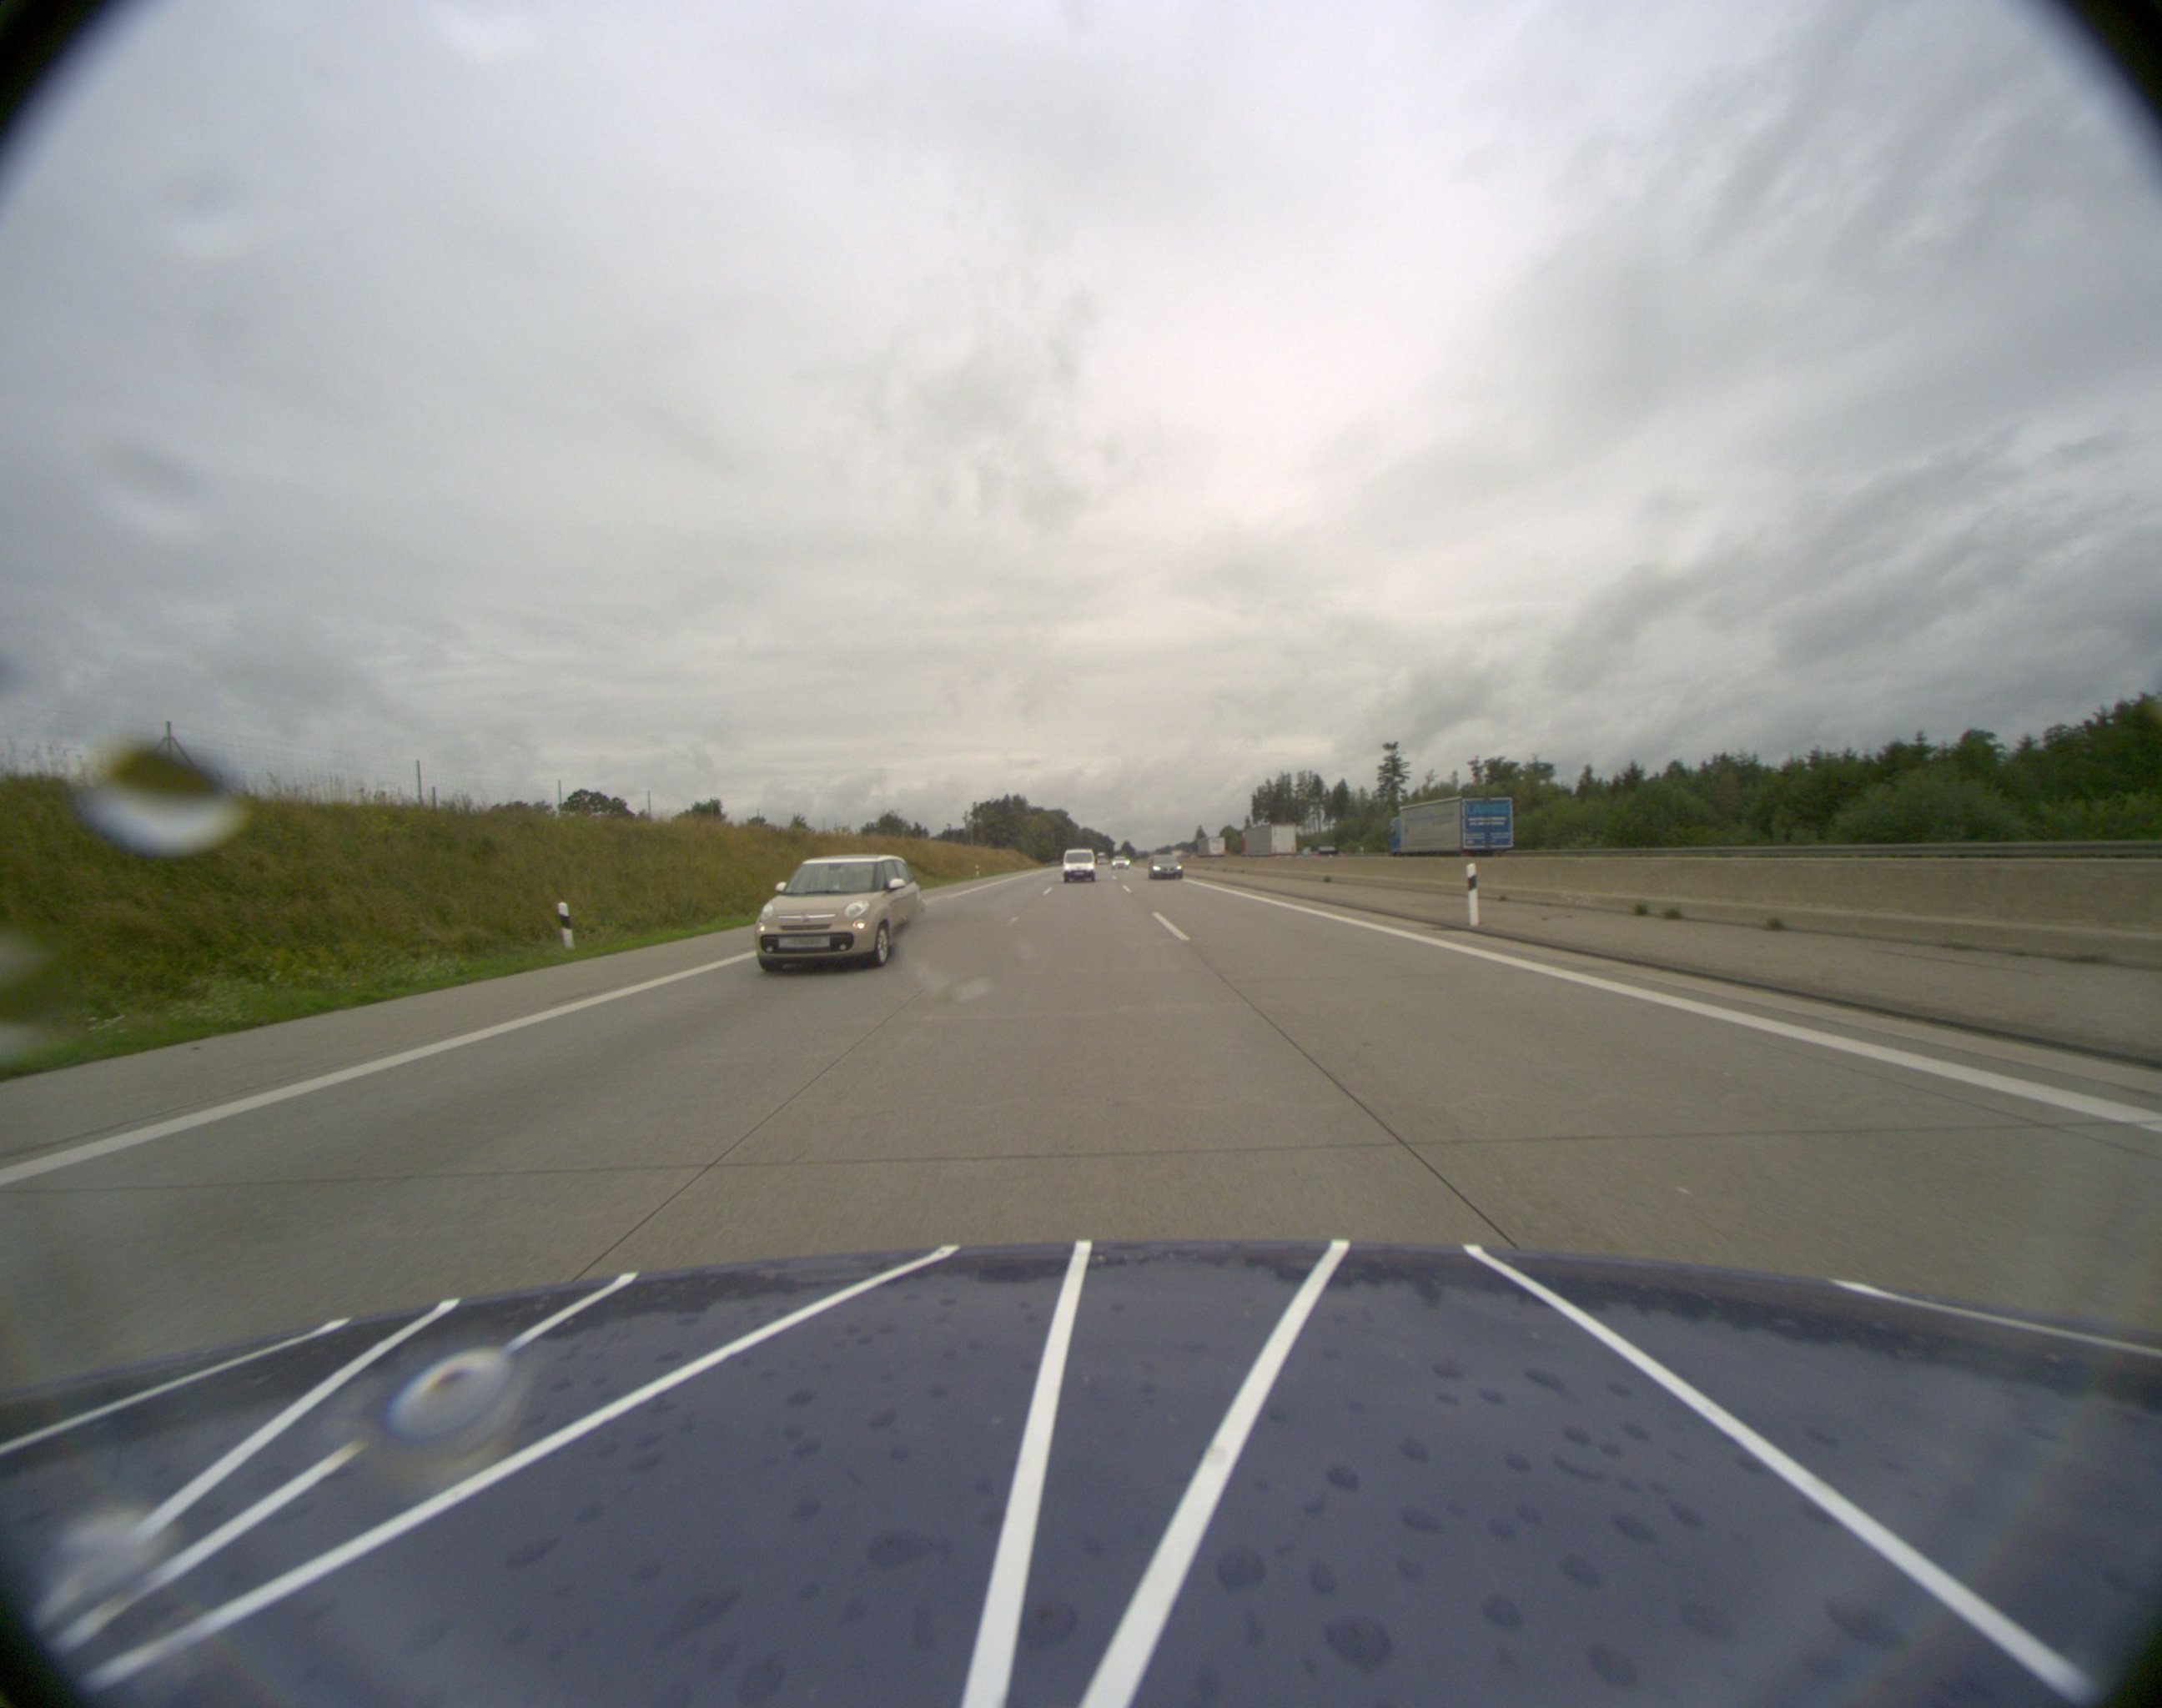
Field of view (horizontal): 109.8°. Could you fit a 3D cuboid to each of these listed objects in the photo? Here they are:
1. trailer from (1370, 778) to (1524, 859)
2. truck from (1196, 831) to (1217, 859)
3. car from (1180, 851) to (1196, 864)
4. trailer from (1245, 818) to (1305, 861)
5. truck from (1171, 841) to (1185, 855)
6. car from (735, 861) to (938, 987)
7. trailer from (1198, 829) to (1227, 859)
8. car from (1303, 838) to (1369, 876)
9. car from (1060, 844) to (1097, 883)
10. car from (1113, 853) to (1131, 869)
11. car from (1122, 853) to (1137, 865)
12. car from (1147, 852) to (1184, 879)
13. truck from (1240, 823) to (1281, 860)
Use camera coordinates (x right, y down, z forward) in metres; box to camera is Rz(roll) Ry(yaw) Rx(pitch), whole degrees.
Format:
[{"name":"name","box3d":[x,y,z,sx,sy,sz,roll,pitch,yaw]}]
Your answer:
[{"name":"trailer","box3d":[20.106,-1.714,43.033,2.856,3.814,12.400,-2,0,1]},{"name":"truck","box3d":[22.194,-1.551,134.627,2.935,4.649,5.233,-2,0,1]},{"name":"car","box3d":[14.578,0.503,103.734,1.717,1.669,4.182,-2,0,1]},{"name":"trailer","box3d":[21.053,-1.468,83.461,3.492,4.177,12.929,-2,0,2]},{"name":"truck","box3d":[27.759,-1.729,217.704,2.906,3.841,8.901,-2,0,2]},{"name":"car","box3d":[-3.735,0.969,12.560,1.789,1.595,4.571,-2,0,1]},{"name":"trailer","box3d":[22.001,-1.541,127.904,2.923,4.598,13.638,-2,0,2]},{"name":"car","box3d":[12.314,0.135,36.869,1.998,1.674,3.535,-2,0,1]},{"name":"car","box3d":[-0.079,0.539,46.021,2.043,2.111,6.068,-2,0,1]},{"name":"car","box3d":[4.803,0.788,88.886,2.031,1.669,4.320,-2,0,3]},{"name":"car","box3d":[6.804,0.689,107.772,1.885,1.669,4.319,-2,0,1]},{"name":"car","box3d":[4.992,0.640,45.468,1.789,1.472,4.571,-2,0,2]},{"name":"truck","box3d":[21.296,-1.444,90.587,3.478,4.158,6.494,-2,0,2]}]
